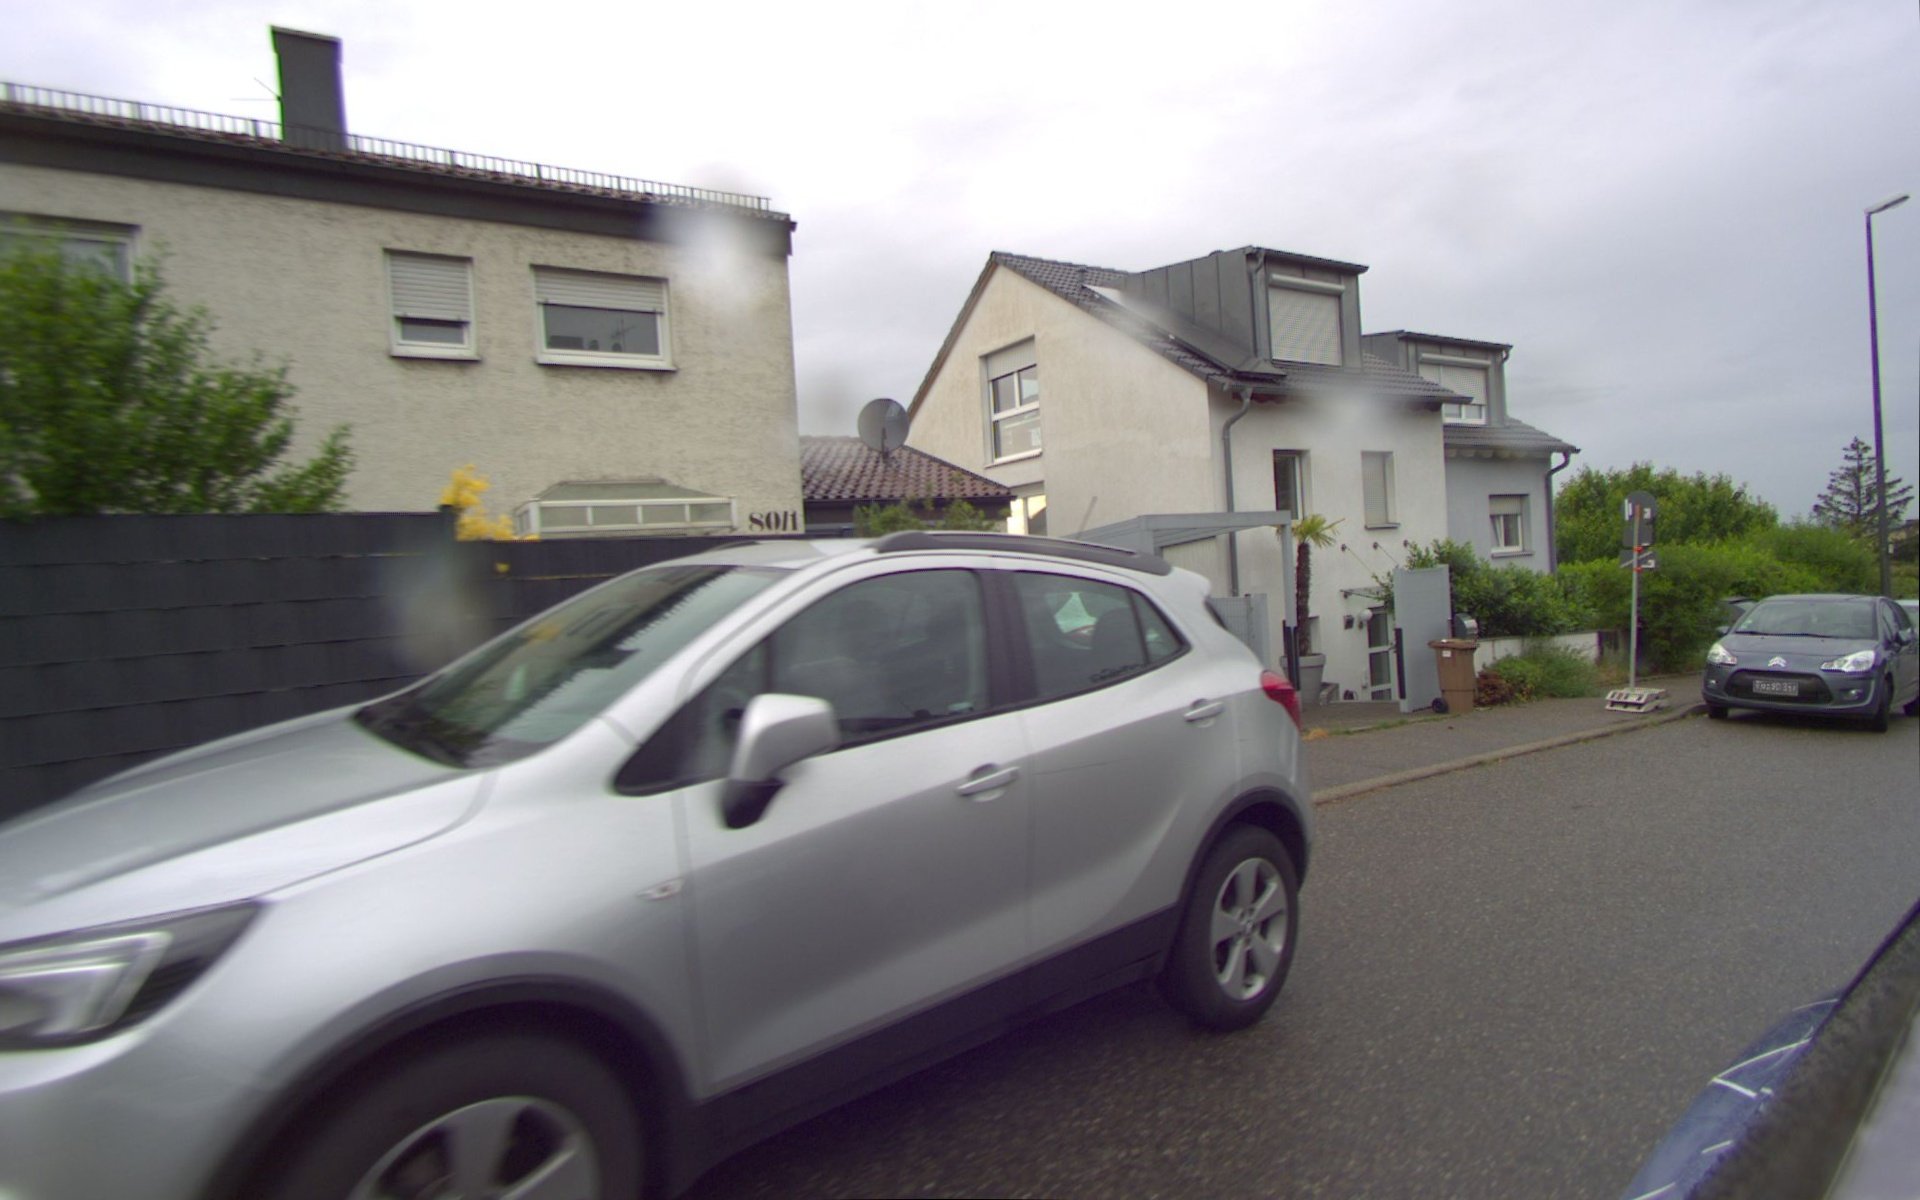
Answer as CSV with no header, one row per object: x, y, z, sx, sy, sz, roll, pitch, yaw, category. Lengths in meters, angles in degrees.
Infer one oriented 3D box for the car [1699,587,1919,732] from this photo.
10.732,0.619,12.468,3.695,1.485,1.664,0,2,-38,car

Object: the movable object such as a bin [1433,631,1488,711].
6.281,0.880,12.696,0.490,0.951,0.433,0,0,-36,movable object such as a bin

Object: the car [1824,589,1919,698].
14.885,0.606,15.394,4.156,1.485,1.774,0,2,-37,car

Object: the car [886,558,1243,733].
0.993,0.406,11.539,1.898,1.609,4.000,-1,0,-34,car

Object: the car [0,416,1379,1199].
-0.563,0.542,3.206,4.213,1.647,1.807,0,2,-41,car

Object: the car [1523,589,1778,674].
14.779,0.722,21.894,1.960,1.461,4.000,-1,-6,-31,car
